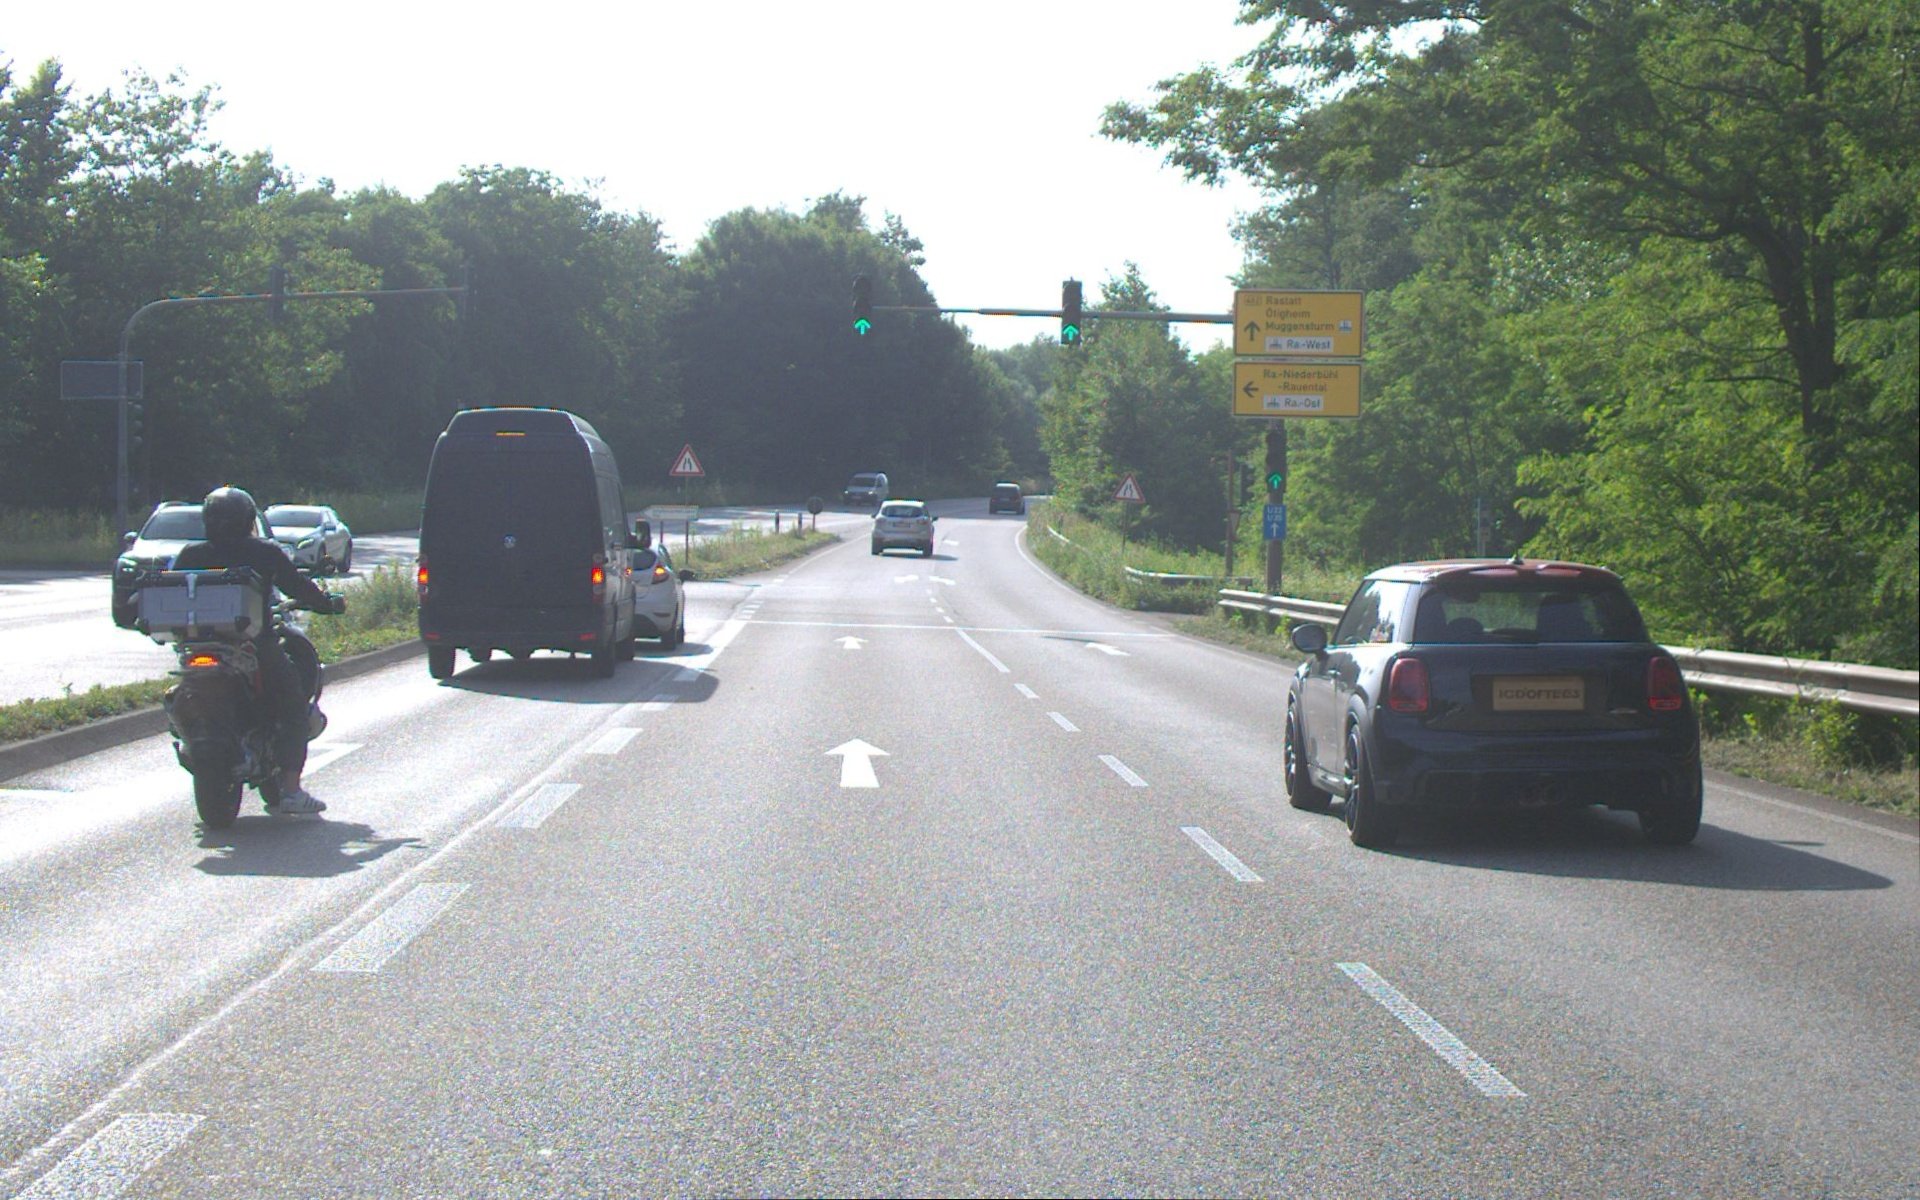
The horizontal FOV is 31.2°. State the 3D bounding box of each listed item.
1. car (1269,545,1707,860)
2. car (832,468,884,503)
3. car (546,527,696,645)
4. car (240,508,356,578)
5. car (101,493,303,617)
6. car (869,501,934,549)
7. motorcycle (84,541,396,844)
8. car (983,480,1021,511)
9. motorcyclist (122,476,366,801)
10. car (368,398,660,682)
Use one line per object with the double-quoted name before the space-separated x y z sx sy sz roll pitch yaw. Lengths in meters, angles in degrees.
"car" 2.715 0.463 18.496 1.820 1.462 3.873 1 1 1
"car" -5.668 -6.383 191.847 1.851 1.780 4.668 3 1 11
"car" -4.479 -0.223 45.837 1.645 1.484 4.104 0 1 -1
"car" -14.664 -1.293 76.360 1.883 1.498 4.265 0 1 -2
"car" -11.295 -0.701 51.551 2.076 1.757 4.757 0 1 -1
"car" -1.803 -2.337 107.148 1.761 1.375 3.971 2 1 2
"motorcycle" -3.788 0.439 18.377 0.909 1.448 2.689 -2 1 3
"car" 2.237 -5.573 183.719 1.744 1.532 3.926 3 1 -3
"motorcyclist" -3.748 0.182 18.089 0.884 1.610 1.290 3 1 4
"car" -4.841 -0.691 38.452 2.210 2.878 7.011 0 1 1
